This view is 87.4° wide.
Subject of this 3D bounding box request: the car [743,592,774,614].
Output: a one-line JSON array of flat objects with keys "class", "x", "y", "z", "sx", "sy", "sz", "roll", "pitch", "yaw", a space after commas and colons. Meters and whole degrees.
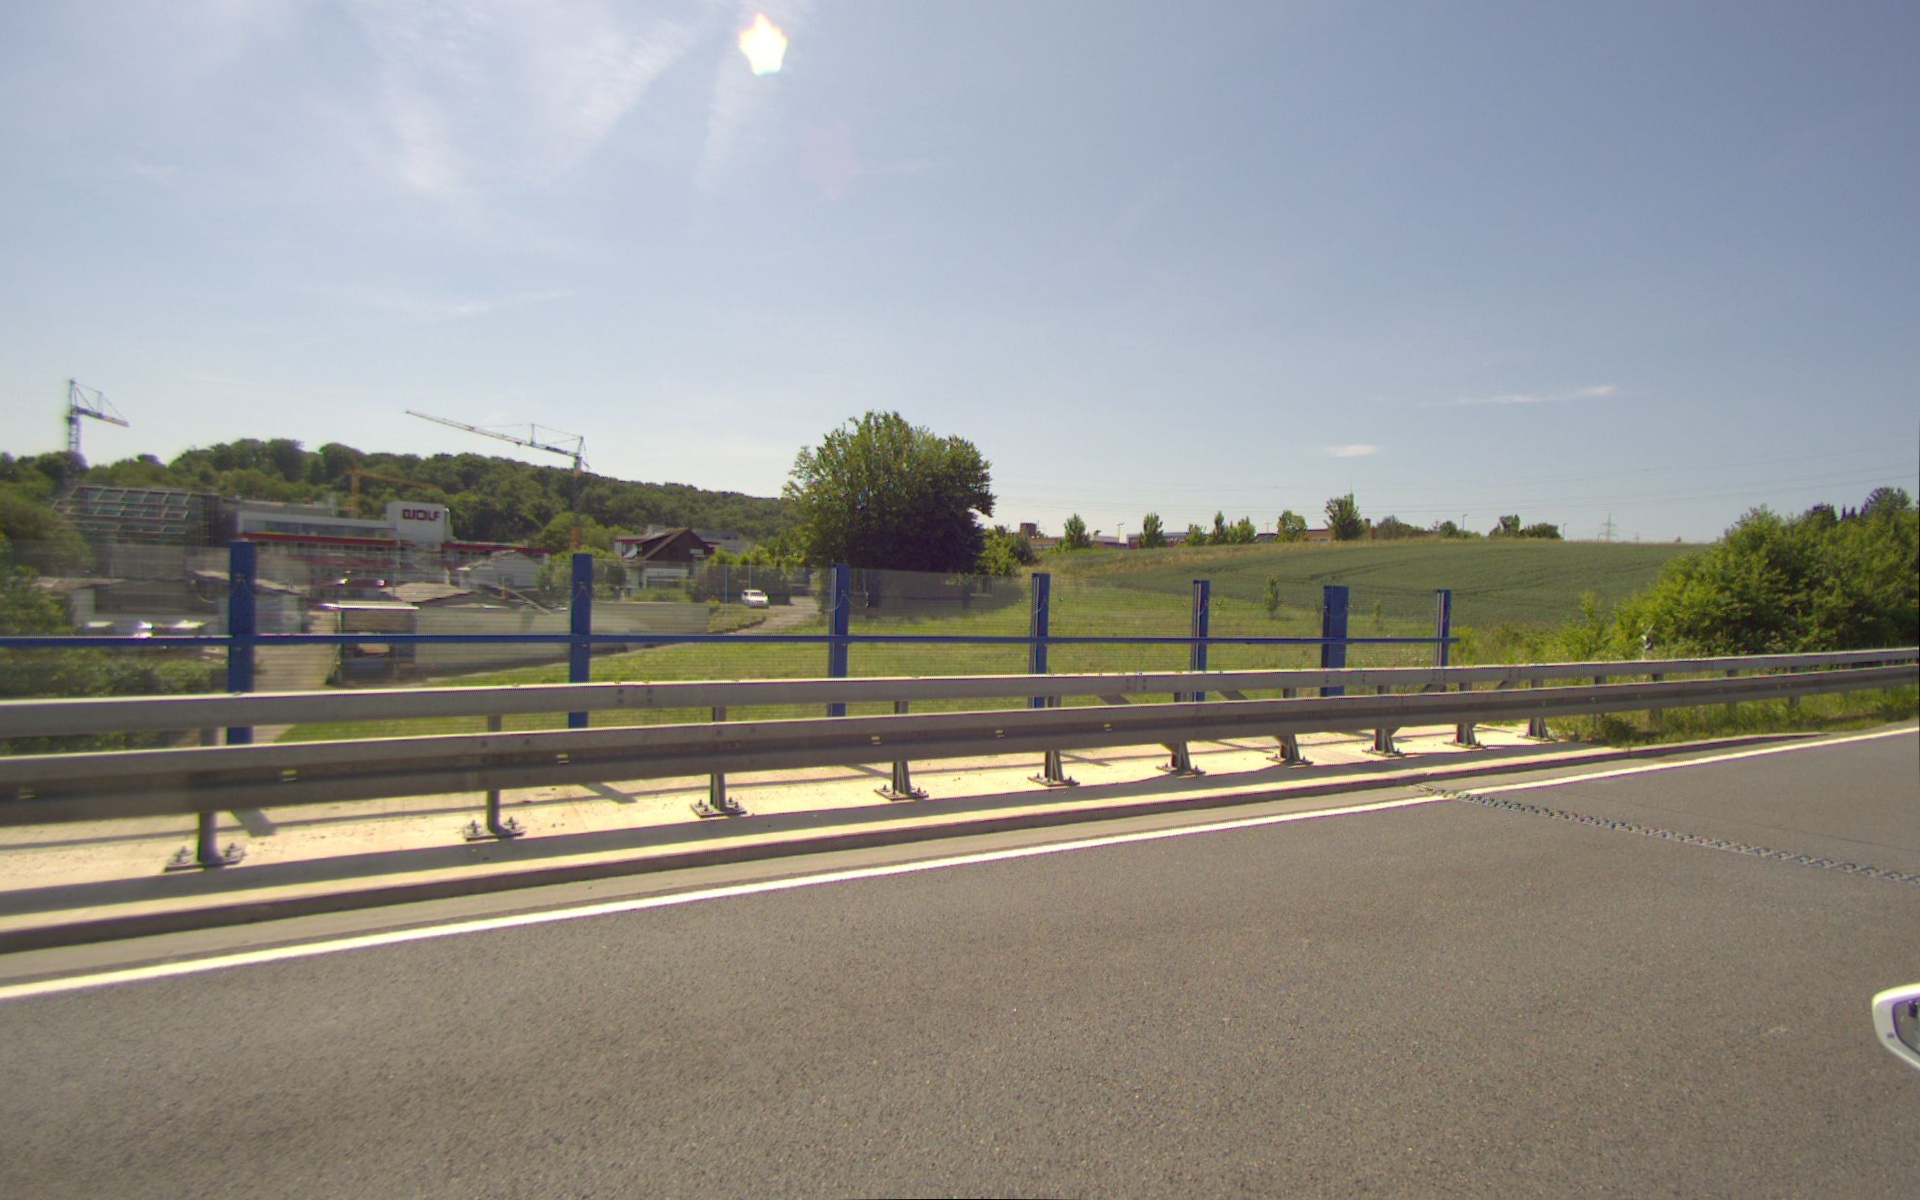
[{"class": "car", "x": -17.855, "y": 0.261, "z": 88.818, "sx": 1.807, "sy": 1.625, "sz": 3.974, "roll": -3, "pitch": 4, "yaw": -25}]
